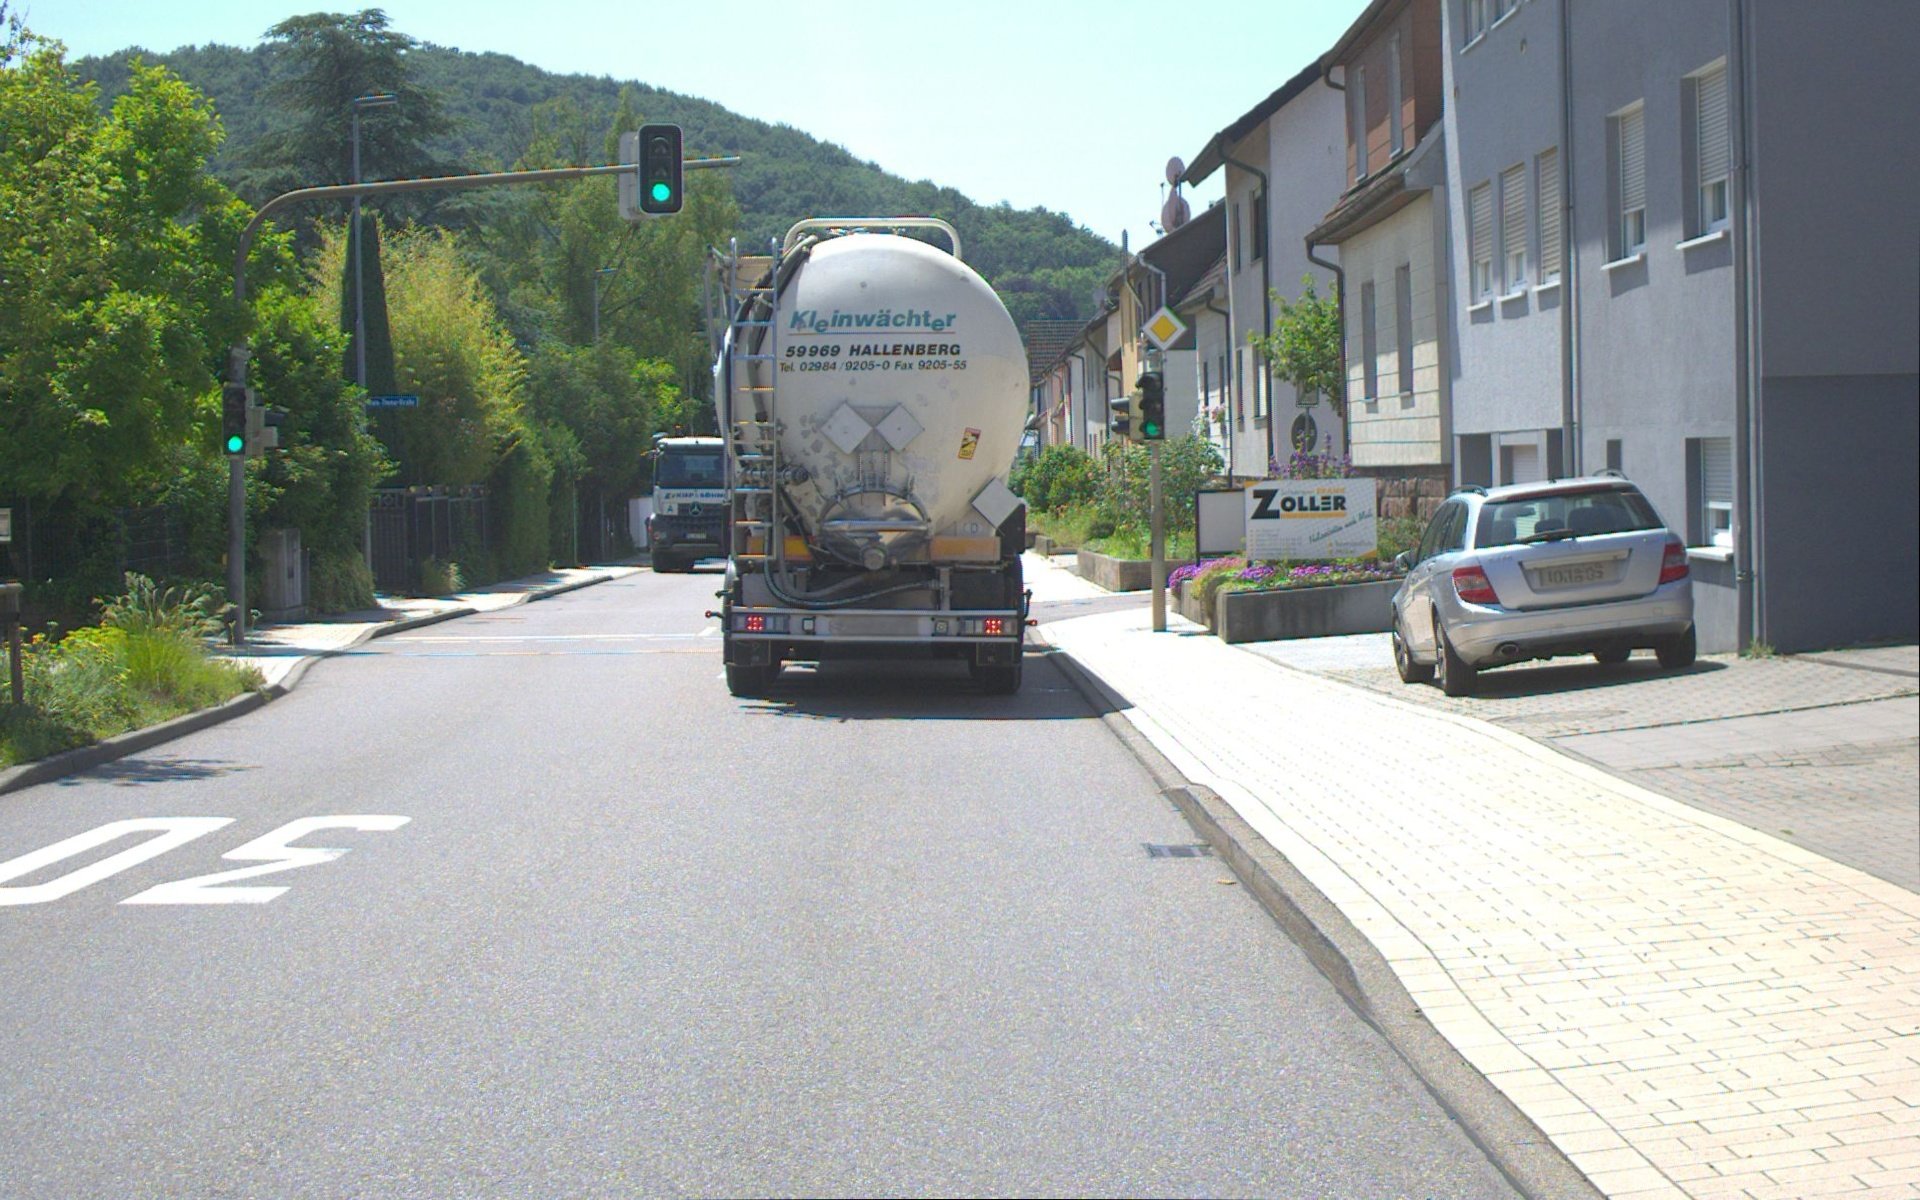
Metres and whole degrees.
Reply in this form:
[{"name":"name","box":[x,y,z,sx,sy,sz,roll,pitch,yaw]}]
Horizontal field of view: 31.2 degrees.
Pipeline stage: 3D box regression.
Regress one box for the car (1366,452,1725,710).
[{"name":"car","box":[4.172,-0.175,25.183,1.791,1.536,4.519,-6,1,1]}]

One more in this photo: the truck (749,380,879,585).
[{"name":"truck","box":[-3.464,-2.791,84.139,2.846,4.662,11.340,0,1,-1]}]

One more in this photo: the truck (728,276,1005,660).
[{"name":"truck","box":[-1.084,-1.435,38.530,2.808,3.923,6.100,1,1,-2]}]

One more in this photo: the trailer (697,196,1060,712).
[{"name":"trailer","box":[-0.821,-1.250,31.784,2.796,3.987,10.325,0,1,-2]}]

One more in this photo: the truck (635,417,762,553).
[{"name":"truck","box":[-6.806,-2.988,90.520,2.728,3.360,8.635,1,1,-1]}]
